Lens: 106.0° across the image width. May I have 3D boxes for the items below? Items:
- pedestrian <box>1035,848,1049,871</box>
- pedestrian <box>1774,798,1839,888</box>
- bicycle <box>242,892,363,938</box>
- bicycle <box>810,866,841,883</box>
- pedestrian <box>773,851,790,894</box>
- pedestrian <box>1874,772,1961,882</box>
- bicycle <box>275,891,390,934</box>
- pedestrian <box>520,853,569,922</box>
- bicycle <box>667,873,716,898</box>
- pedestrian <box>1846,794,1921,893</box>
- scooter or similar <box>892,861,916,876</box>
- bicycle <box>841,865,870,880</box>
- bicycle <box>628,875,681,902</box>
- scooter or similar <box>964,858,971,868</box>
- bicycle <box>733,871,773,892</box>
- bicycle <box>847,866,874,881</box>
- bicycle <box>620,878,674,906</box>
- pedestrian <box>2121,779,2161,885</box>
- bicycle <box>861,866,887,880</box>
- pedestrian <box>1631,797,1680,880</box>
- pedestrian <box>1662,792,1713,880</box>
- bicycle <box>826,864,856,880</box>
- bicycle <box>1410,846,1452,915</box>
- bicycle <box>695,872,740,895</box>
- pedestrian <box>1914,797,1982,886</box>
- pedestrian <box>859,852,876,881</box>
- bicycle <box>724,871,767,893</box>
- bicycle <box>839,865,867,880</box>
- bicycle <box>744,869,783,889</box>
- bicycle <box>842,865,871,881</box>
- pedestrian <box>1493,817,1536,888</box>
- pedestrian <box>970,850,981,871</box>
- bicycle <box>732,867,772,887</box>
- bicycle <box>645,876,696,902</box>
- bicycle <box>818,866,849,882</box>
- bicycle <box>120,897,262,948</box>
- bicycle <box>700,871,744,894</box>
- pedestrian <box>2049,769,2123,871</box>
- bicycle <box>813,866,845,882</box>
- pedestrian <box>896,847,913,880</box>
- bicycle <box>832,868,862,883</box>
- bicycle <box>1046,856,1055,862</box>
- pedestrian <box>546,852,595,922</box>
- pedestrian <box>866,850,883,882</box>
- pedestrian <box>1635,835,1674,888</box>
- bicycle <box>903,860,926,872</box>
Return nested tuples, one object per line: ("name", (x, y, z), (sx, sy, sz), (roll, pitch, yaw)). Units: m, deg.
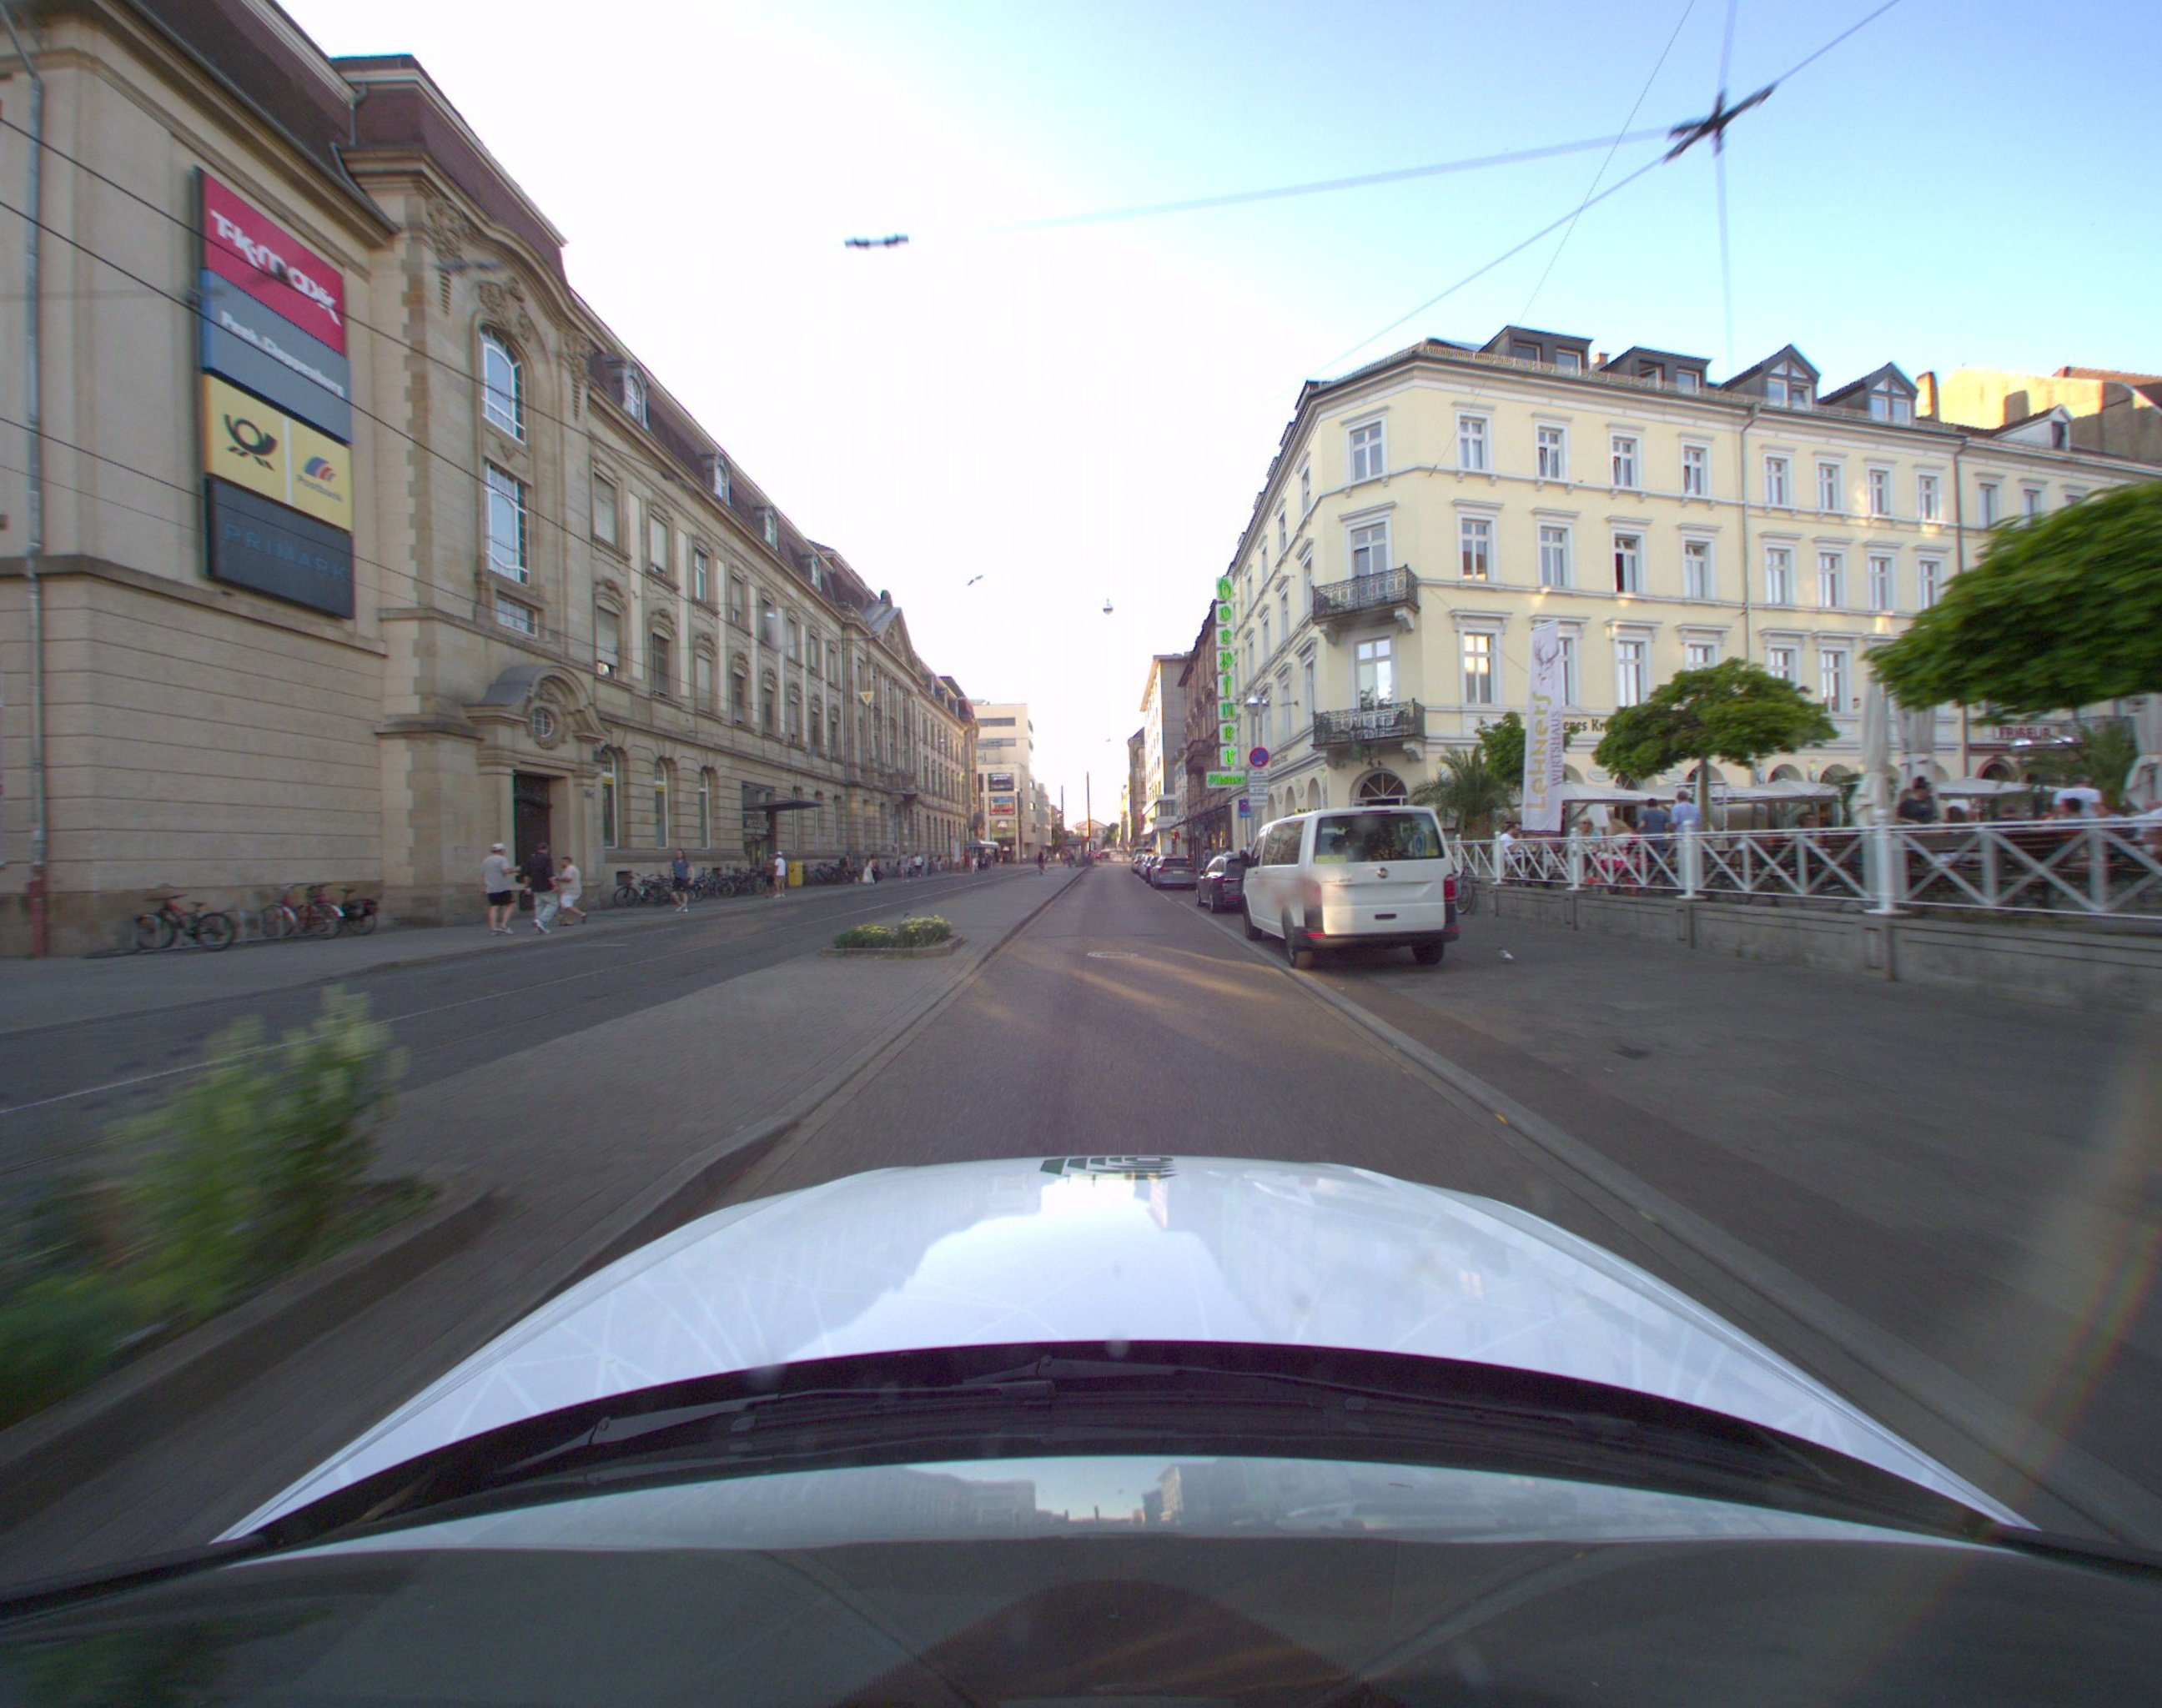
("pedestrian", (-2.632, 0.363, 54.811), (0.843, 1.501, 0.901), (-1, 0, 1))
("pedestrian", (11.155, -0.166, 12.532), (0.528, 1.333, 0.491), (-1, 0, 1))
("bicycle", (-15.941, 1.242, 16.701), (1.829, 0.868, 0.635), (0, -1, -1))
("bicycle", (-13.709, 1.109, 43.712), (1.567, 0.874, 0.451), (0, -1, 6))
("pedestrian", (-11.583, 0.720, 31.486), (0.371, 1.631, 0.496), (-1, -1, 41))
("pedestrian", (13.218, -0.418, 12.885), (0.588, 1.692, 0.731), (-1, 0, -6))
("bicycle", (-15.988, 1.249, 17.426), (1.829, 0.868, 0.635), (0, -1, -1))
("pedestrian", (-12.375, 0.759, 18.787), (0.658, 1.562, 0.679), (-1, 0, -2))
("bicycle", (-13.917, 1.116, 29.135), (1.567, 0.874, 0.451), (0, -1, 6))
("pedestrian", (11.110, -0.140, 11.290), (0.528, 1.333, 0.491), (-1, 0, 1))
("scooter or similar", (-12.700, 1.062, 58.442), (1.539, 1.068, 0.451), (0, -1, 6))
("bicycle", (-13.328, 1.077, 48.173), (1.567, 0.874, 0.451), (0, -1, 6))
("bicycle", (-14.279, 1.147, 27.289), (1.567, 0.874, 0.451), (0, -1, 6))
("scooter or similar", (-13.154, 1.031, 94.340), (0.484, 1.182, 1.294), (0, -1, 3))
("bicycle", (-13.886, 1.165, 34.482), (1.567, 0.874, 0.451), (0, -1, 6))
("bicycle", (-13.790, 1.224, 50.956), (1.567, 0.874, 0.451), (0, -1, 6))
("bicycle", (-14.263, 1.244, 26.748), (1.567, 0.874, 0.451), (0, -1, 6))
("pedestrian", (14.353, -0.289, 10.745), (0.588, 1.377, 0.531), (-1, 0, -6))
("bicycle", (-13.394, 1.227, 52.823), (1.567, 0.874, 0.451), (0, -1, 6))
("pedestrian", (11.468, -0.308, 16.267), (0.551, 1.608, 0.531), (-1, 0, -6))
("pedestrian", (12.037, -0.357, 16.169), (0.588, 1.696, 0.531), (-1, 0, -6))
("bicycle", (-13.541, 1.035, 46.040), (1.567, 0.874, 0.451), (0, -1, 6))
("bicycle", (7.376, 0.545, 17.203), (0.342, 1.391, 1.291), (-1, 0, 1))
("bicycle", (-13.998, 1.134, 31.353), (1.567, 0.874, 0.451), (0, -1, 6))
("pedestrian", (12.718, -0.183, 11.948), (0.491, 1.266, 0.528), (-1, 0, -22))
("pedestrian", (-11.180, 0.659, 42.726), (0.690, 1.466, 0.556), (-1, 0, 1))
("bicycle", (-13.789, 1.156, 33.486), (1.567, 0.874, 0.451), (0, -1, 6))
("bicycle", (-13.797, 1.099, 49.333), (1.567, 0.874, 0.451), (0, -1, 6))
("bicycle", (-14.085, 1.096, 36.117), (1.567, 0.874, 0.451), (0, -1, 6))
("bicycle", (-13.048, 1.110, 47.430), (1.567, 0.874, 0.451), (0, -1, 6))
("pedestrian", (8.216, -0.031, 15.439), (0.528, 1.296, 0.491), (-1, 0, 1))
("pedestrian", (-8.130, 0.503, 62.683), (0.657, 1.562, 0.680), (-1, 0, 1))
("bicycle", (-14.313, 1.000, 35.403), (1.567, 0.874, 0.451), (0, -1, 6))
("bicycle", (-14.224, 1.200, 28.208), (1.567, 0.874, 0.451), (0, -1, 6))
("bicycle", (-13.641, 1.081, 44.944), (1.567, 0.874, 0.451), (0, -1, 6))
("bicycle", (-16.089, 1.228, 14.747), (1.829, 0.868, 0.635), (0, -1, -1))
("bicycle", (-14.151, 1.127, 32.137), (1.567, 0.874, 0.451), (0, -1, 6))
("pedestrian", (17.177, -0.575, 13.929), (0.530, 1.696, 0.589), (-1, 0, -6))
("bicycle", (-13.722, 1.105, 44.360), (1.567, 0.874, 0.451), (0, -1, 6))
("pedestrian", (-9.947, 0.531, 45.868), (0.690, 1.813, 0.815), (-1, 0, 1))
("bicycle", (-13.414, 1.235, 46.671), (1.567, 0.874, 0.451), (0, -1, 6))
("bicycle", (-5.927, 1.004, 157.930), (1.689, 1.122, 0.451), (0, -1, 3))
("pedestrian", (-11.632, 0.740, 18.568), (0.658, 1.562, 0.679), (-1, 0, -2))
("pedestrian", (-11.552, 0.668, 45.481), (0.690, 1.712, 0.815), (-1, 0, 1))
("pedestrian", (14.584, 0.184, 20.711), (0.489, 1.328, 0.634), (-1, 0, -12))
("bicycle", (-12.343, 0.922, 60.430), (1.567, 0.874, 0.451), (0, -1, 6))
